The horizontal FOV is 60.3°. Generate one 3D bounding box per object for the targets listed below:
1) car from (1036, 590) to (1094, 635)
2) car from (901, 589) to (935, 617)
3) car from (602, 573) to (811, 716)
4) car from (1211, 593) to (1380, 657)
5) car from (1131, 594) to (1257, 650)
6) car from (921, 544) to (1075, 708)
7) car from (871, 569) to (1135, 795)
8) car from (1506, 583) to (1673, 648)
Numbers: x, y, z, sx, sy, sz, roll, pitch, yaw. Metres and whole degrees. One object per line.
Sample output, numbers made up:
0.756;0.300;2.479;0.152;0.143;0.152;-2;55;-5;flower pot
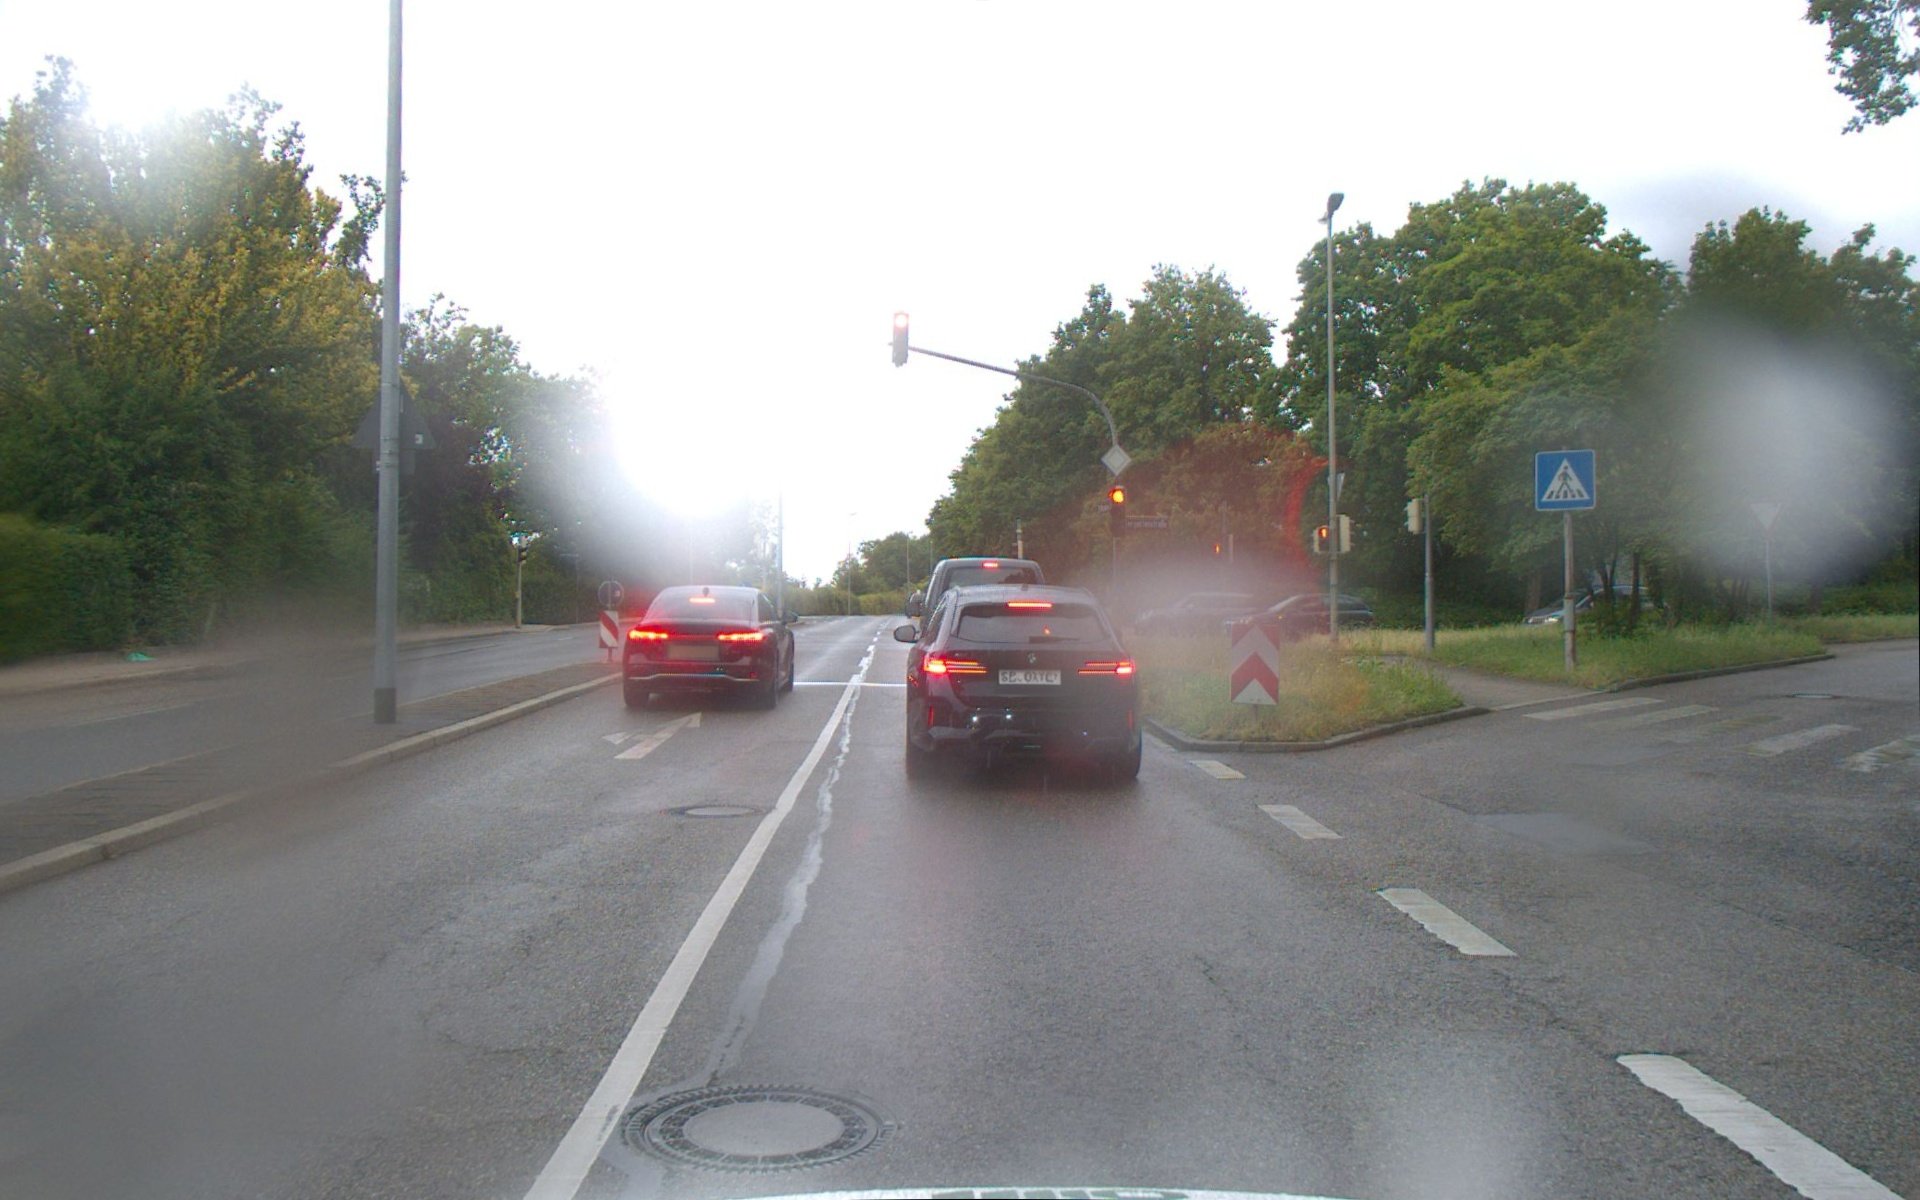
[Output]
3.818;0.444;60.578;1.835;1.569;3.952;-2;0;0;car
-2.541;0.170;100.037;1.953;1.652;3.952;-2;0;0;car
-3.063;0.500;20.869;1.953;1.554;4.327;-2;0;0;car
8.704;0.616;43.095;3.912;1.535;1.898;-1;0;-8;car
6.682;0.628;47.489;3.429;1.452;1.703;-2;-1;3;car
0.442;0.306;21.478;1.781;1.901;3.952;1;0;0;car
0.414;0.609;14.157;1.858;1.578;4.616;1;-1;3;car
17.236;0.398;45.341;3.946;1.630;1.744;-1;1;-10;car
